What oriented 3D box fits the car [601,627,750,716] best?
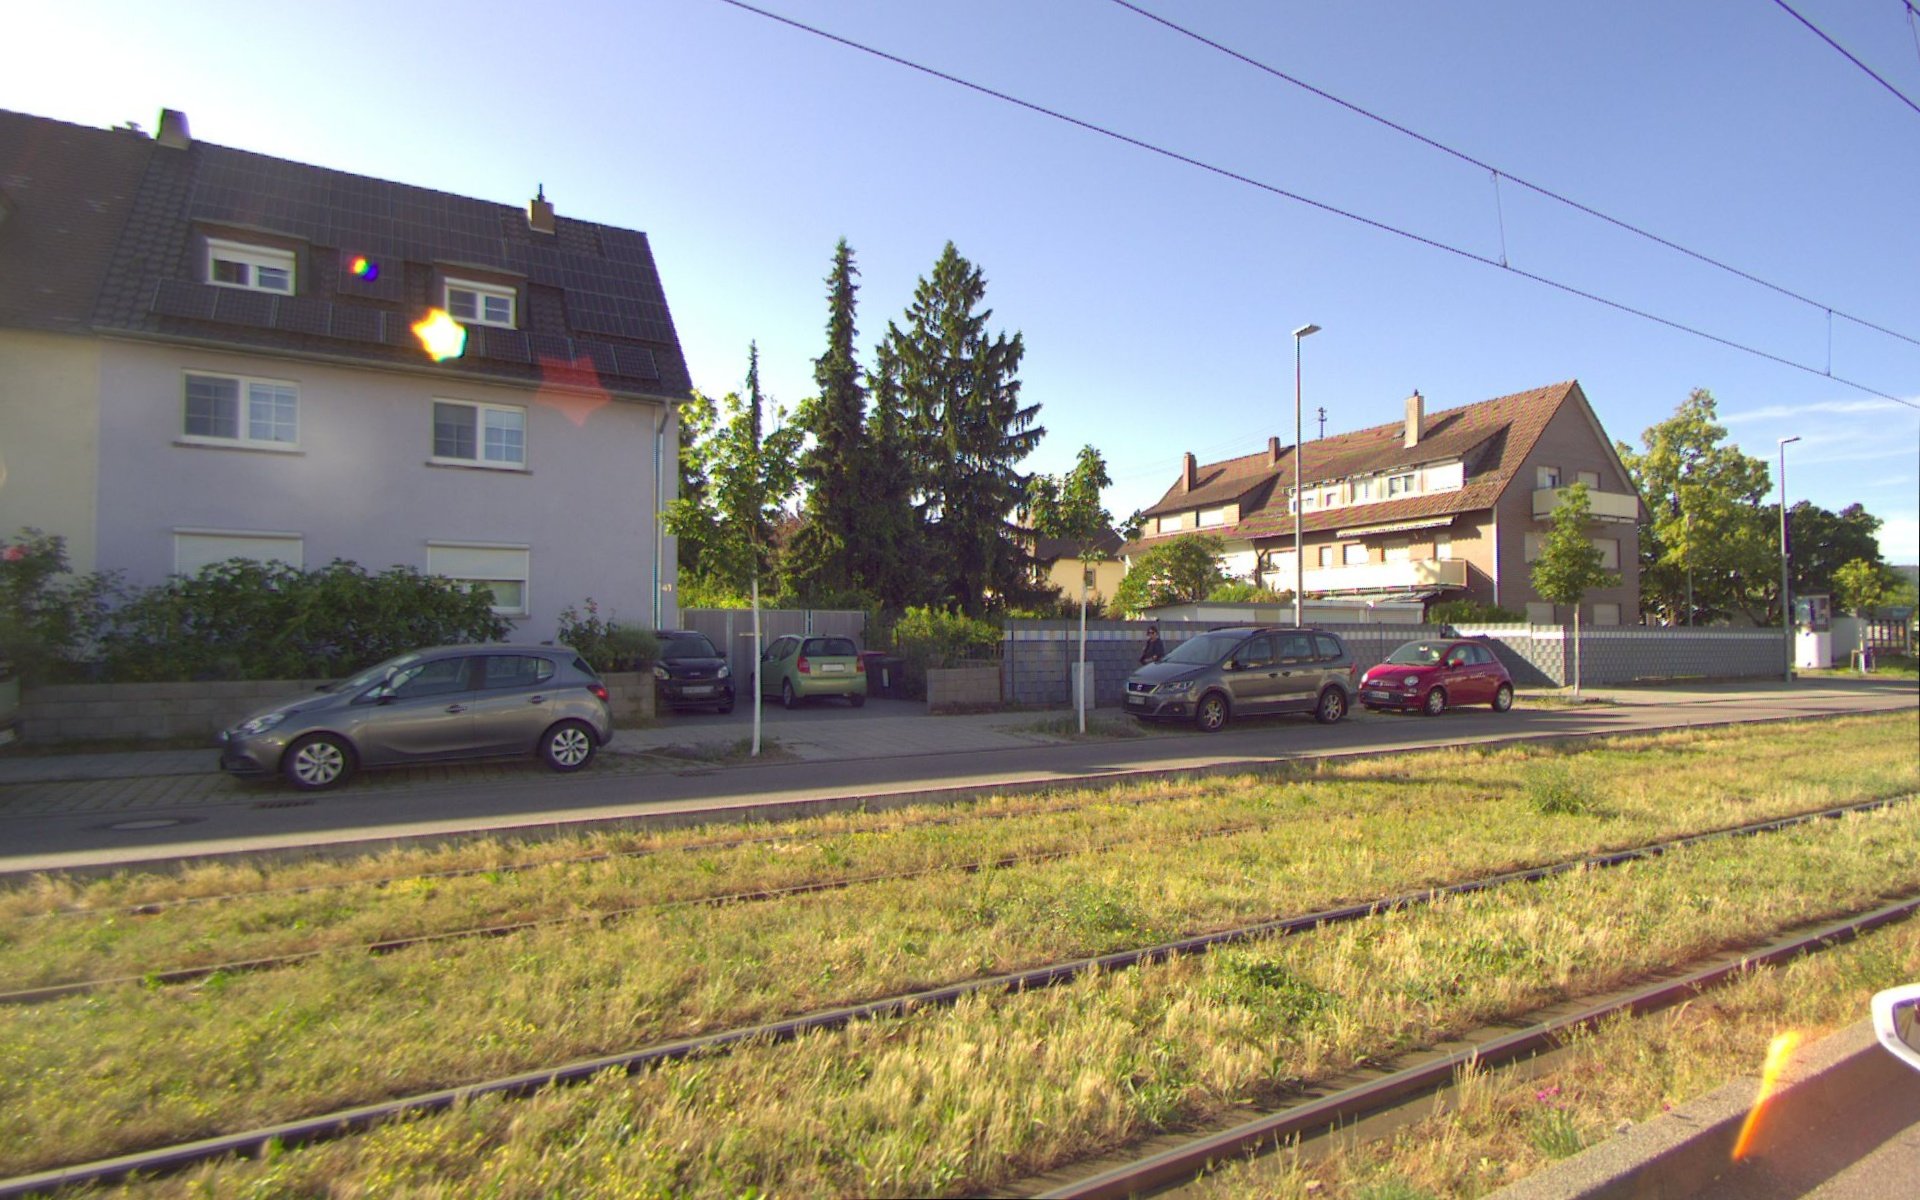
[{"bbox_3d":[-5.572,1.304,19.410,1.675,1.480,3.608,2,-1,-35],"label":"car"}]

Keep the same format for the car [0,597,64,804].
[{"bbox_3d":[-11.056,0.855,8.570,4.784,1.847,1.737,1,0,-30],"label":"car"}]

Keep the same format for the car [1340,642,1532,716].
[{"bbox_3d":[10.080,1.597,21.209,4.030,1.423,1.688,1,-3,-30],"label":"car"}]

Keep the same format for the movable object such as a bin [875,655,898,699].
[{"bbox_3d":[-1.672,1.736,22.744,0.293,0.982,0.589,1,-2,-30],"label":"movable object such as a bin"}]

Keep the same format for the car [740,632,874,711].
[{"bbox_3d":[-3.288,1.441,21.127,1.684,1.493,3.598,2,-2,-28],"label":"car"}]

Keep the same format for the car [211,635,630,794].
[{"bbox_3d":[-6.082,1.193,11.635,4.006,1.510,1.666,2,-1,-33],"label":"car"}]

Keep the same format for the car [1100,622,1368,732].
[{"bbox_3d":[4.982,1.303,18.053,4.789,1.707,1.811,1,0,-30],"label":"car"}]

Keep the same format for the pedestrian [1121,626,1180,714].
[{"bbox_3d":[3.738,1.351,19.718,0.910,1.662,0.692,2,-1,-32],"label":"pedestrian"}]

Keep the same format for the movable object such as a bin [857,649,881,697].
[{"bbox_3d":[-2.110,1.686,23.334,0.333,1.077,0.586,2,-2,-30],"label":"movable object such as a bin"}]

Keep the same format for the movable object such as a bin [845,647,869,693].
[{"bbox_3d":[-2.466,1.669,23.992,0.333,1.051,0.630,2,-1,-30],"label":"movable object such as a bin"}]
